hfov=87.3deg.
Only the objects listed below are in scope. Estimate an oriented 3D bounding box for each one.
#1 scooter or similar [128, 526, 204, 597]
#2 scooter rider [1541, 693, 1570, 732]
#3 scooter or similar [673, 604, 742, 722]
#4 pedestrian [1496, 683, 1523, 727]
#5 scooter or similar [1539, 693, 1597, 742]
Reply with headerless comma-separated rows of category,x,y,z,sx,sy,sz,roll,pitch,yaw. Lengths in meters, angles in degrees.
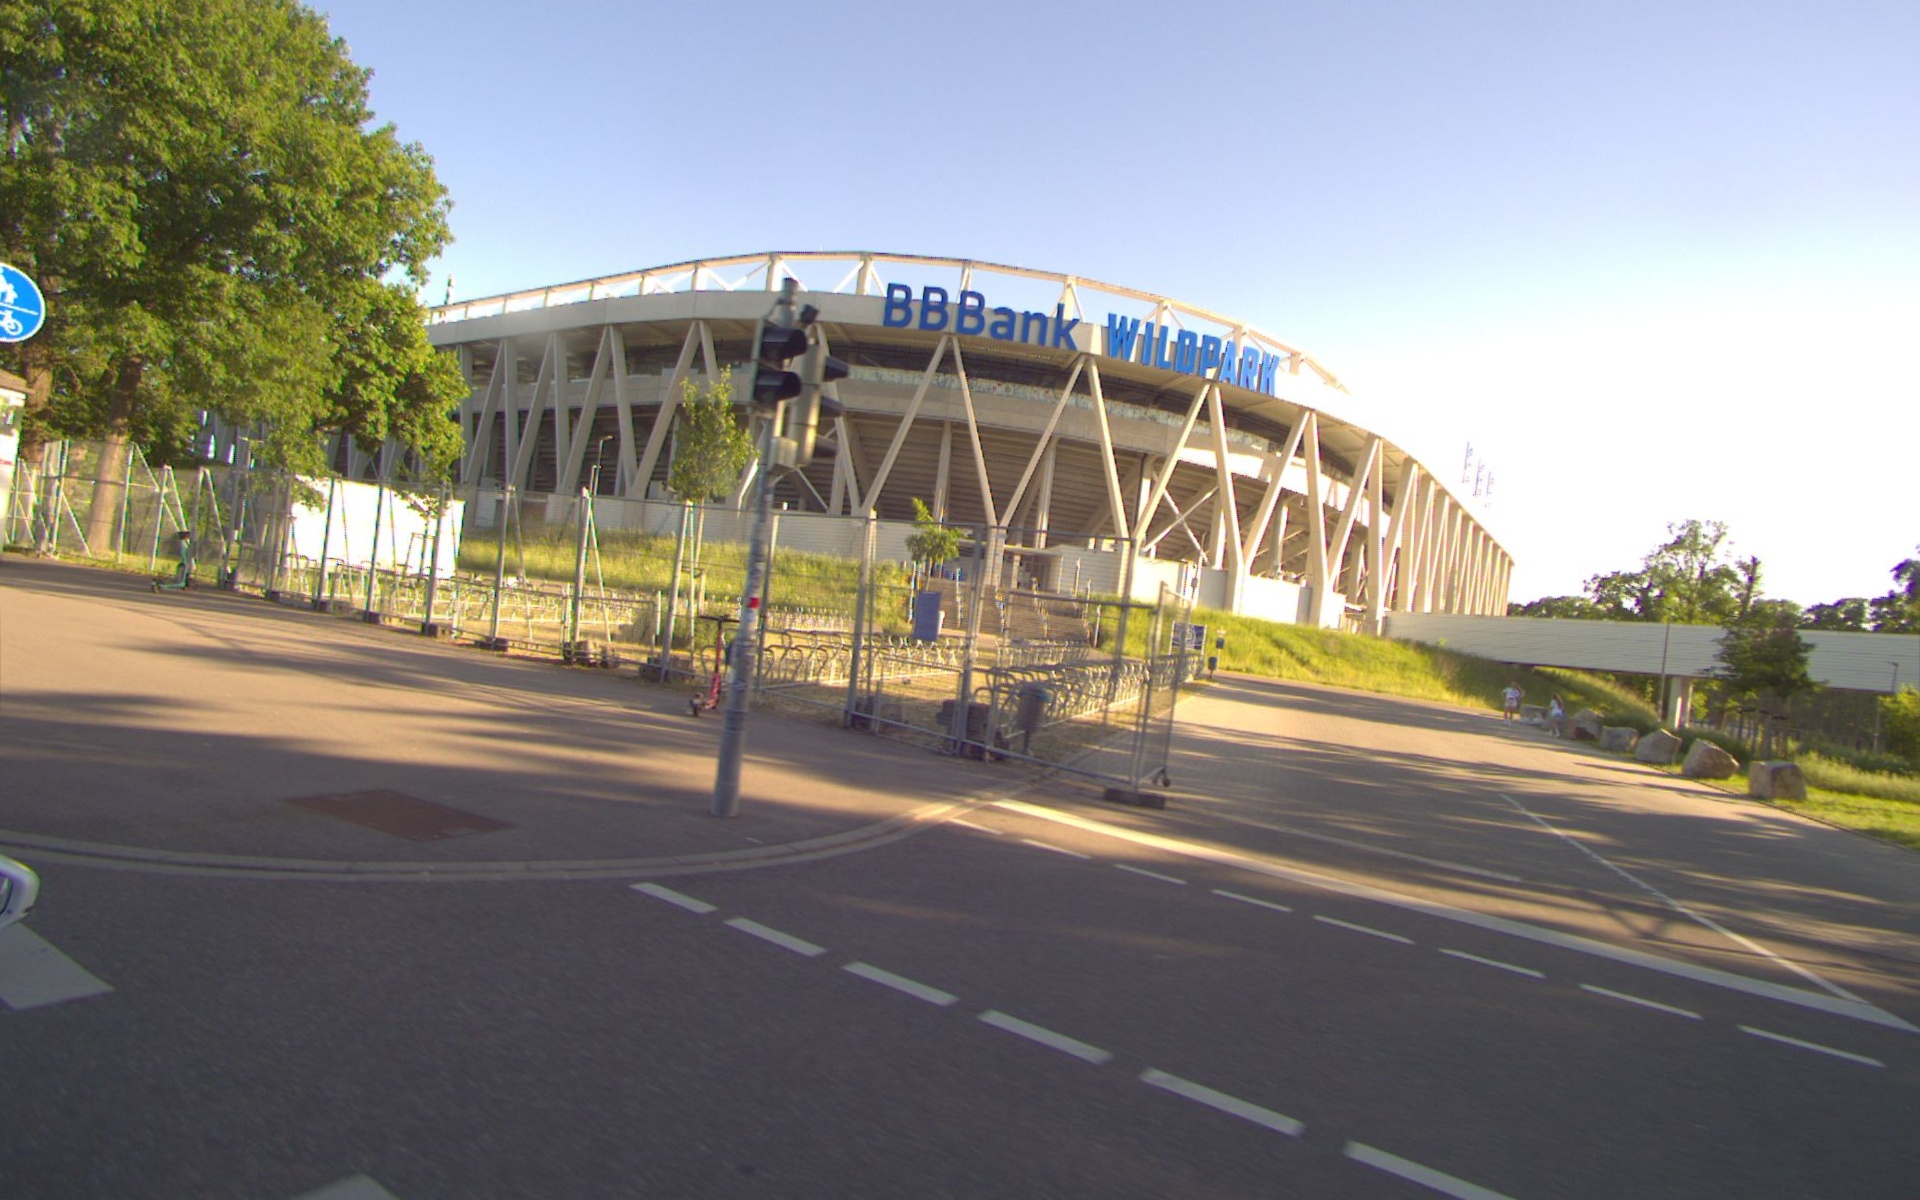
scooter or similar,-15.593,-0.735,19.804,0.561,1.271,1.594,7,-1,-19
scooter rider,21.178,3.995,35.781,0.595,1.288,0.546,8,-2,3
scooter or similar,-3.068,0.738,12.314,0.594,1.303,1.359,7,-1,-11
pedestrian,21.094,4.036,38.632,0.722,1.579,0.582,6,-3,27
scooter or similar,21.629,4.158,35.785,1.500,1.506,0.649,8,-2,2
